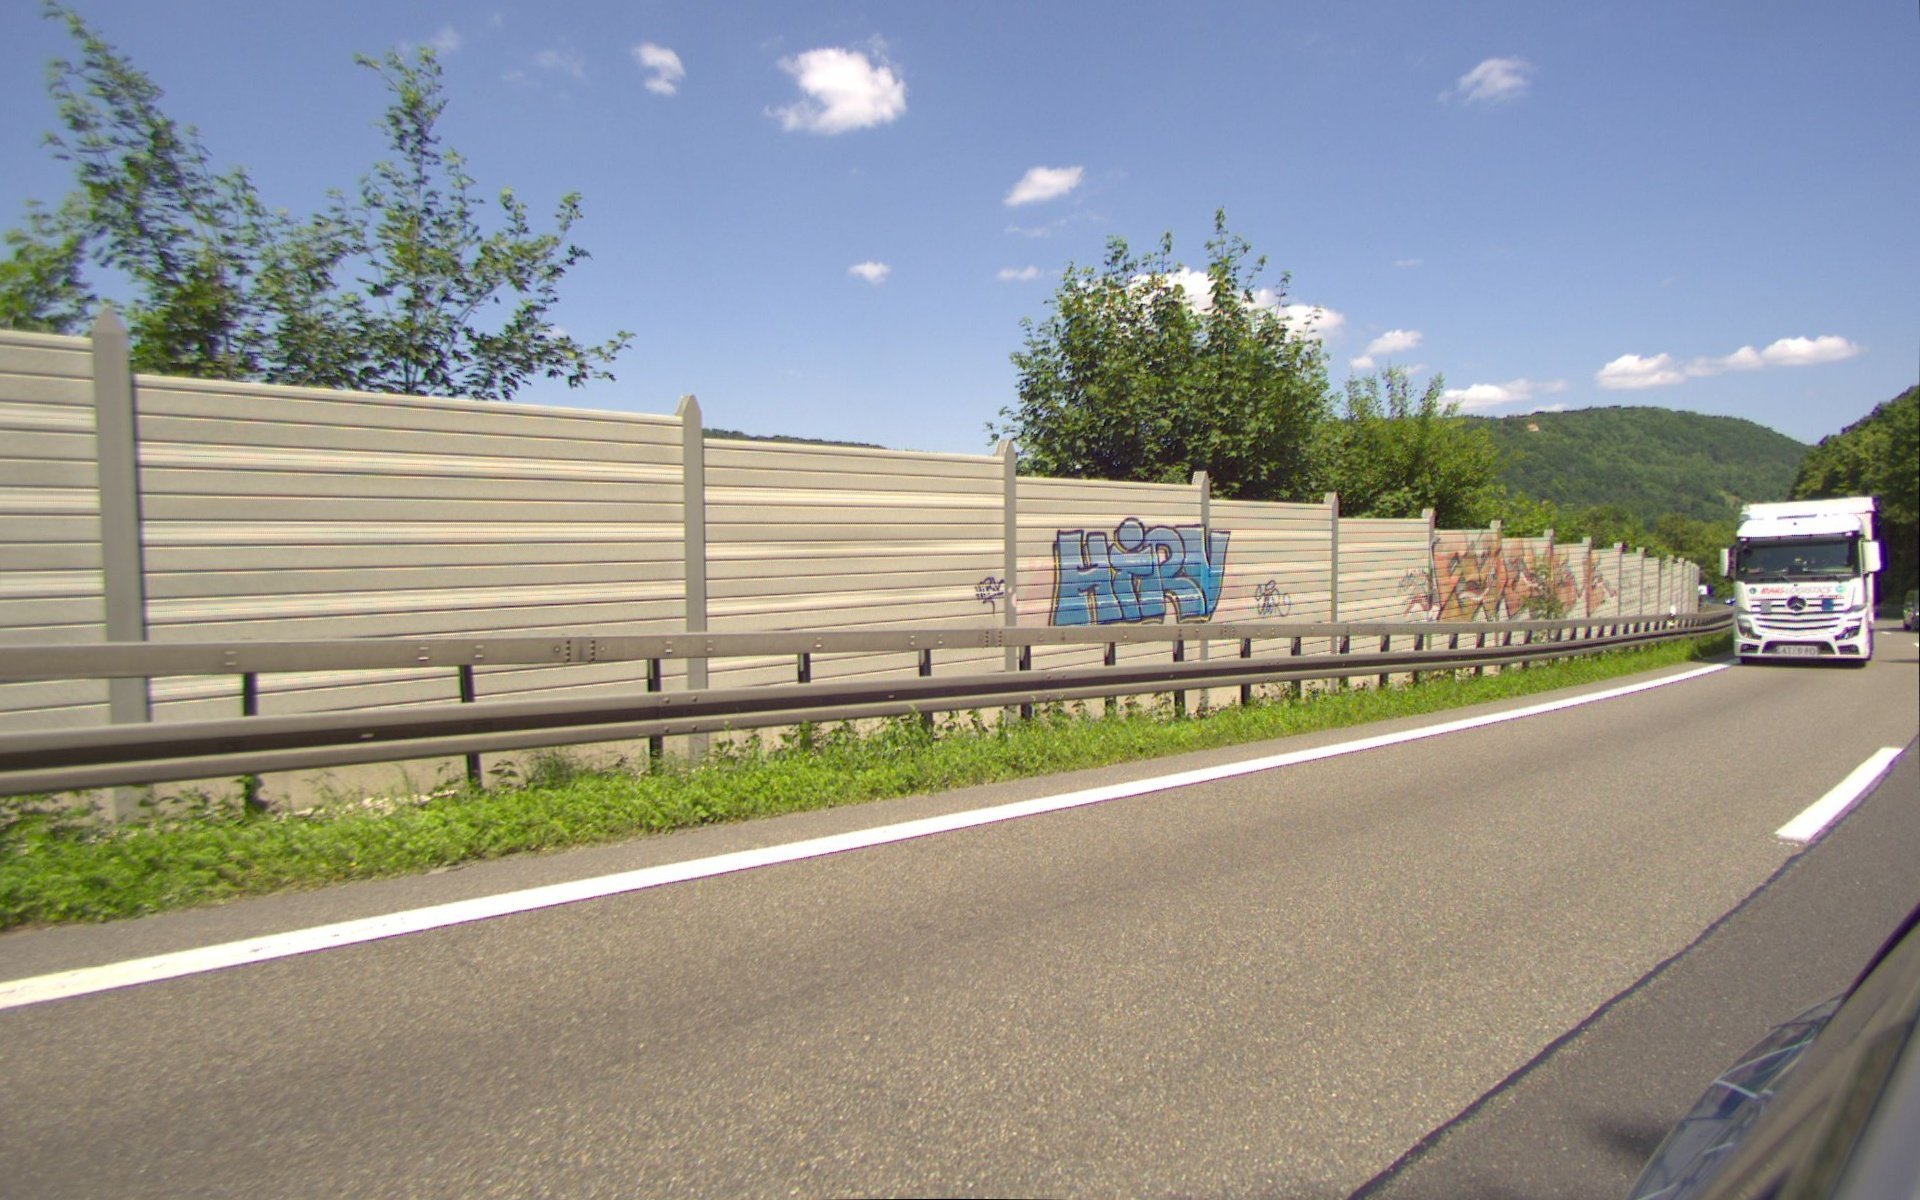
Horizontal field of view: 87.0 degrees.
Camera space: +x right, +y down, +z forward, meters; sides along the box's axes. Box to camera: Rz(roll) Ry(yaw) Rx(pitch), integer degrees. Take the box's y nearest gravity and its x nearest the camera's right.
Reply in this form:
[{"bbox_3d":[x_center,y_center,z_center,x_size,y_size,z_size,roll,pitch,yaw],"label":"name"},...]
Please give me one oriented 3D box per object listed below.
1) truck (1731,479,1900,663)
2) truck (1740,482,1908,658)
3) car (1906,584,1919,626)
[{"bbox_3d":[21.930,-0.666,25.809,2.758,4.090,6.713,0,0,45],"label":"truck"},{"bbox_3d":[25.285,-0.765,29.304,2.855,4.200,11.853,0,0,45],"label":"truck"},{"bbox_3d":[44.752,0.242,46.034,2.033,1.889,3.947,1,0,36],"label":"car"}]
